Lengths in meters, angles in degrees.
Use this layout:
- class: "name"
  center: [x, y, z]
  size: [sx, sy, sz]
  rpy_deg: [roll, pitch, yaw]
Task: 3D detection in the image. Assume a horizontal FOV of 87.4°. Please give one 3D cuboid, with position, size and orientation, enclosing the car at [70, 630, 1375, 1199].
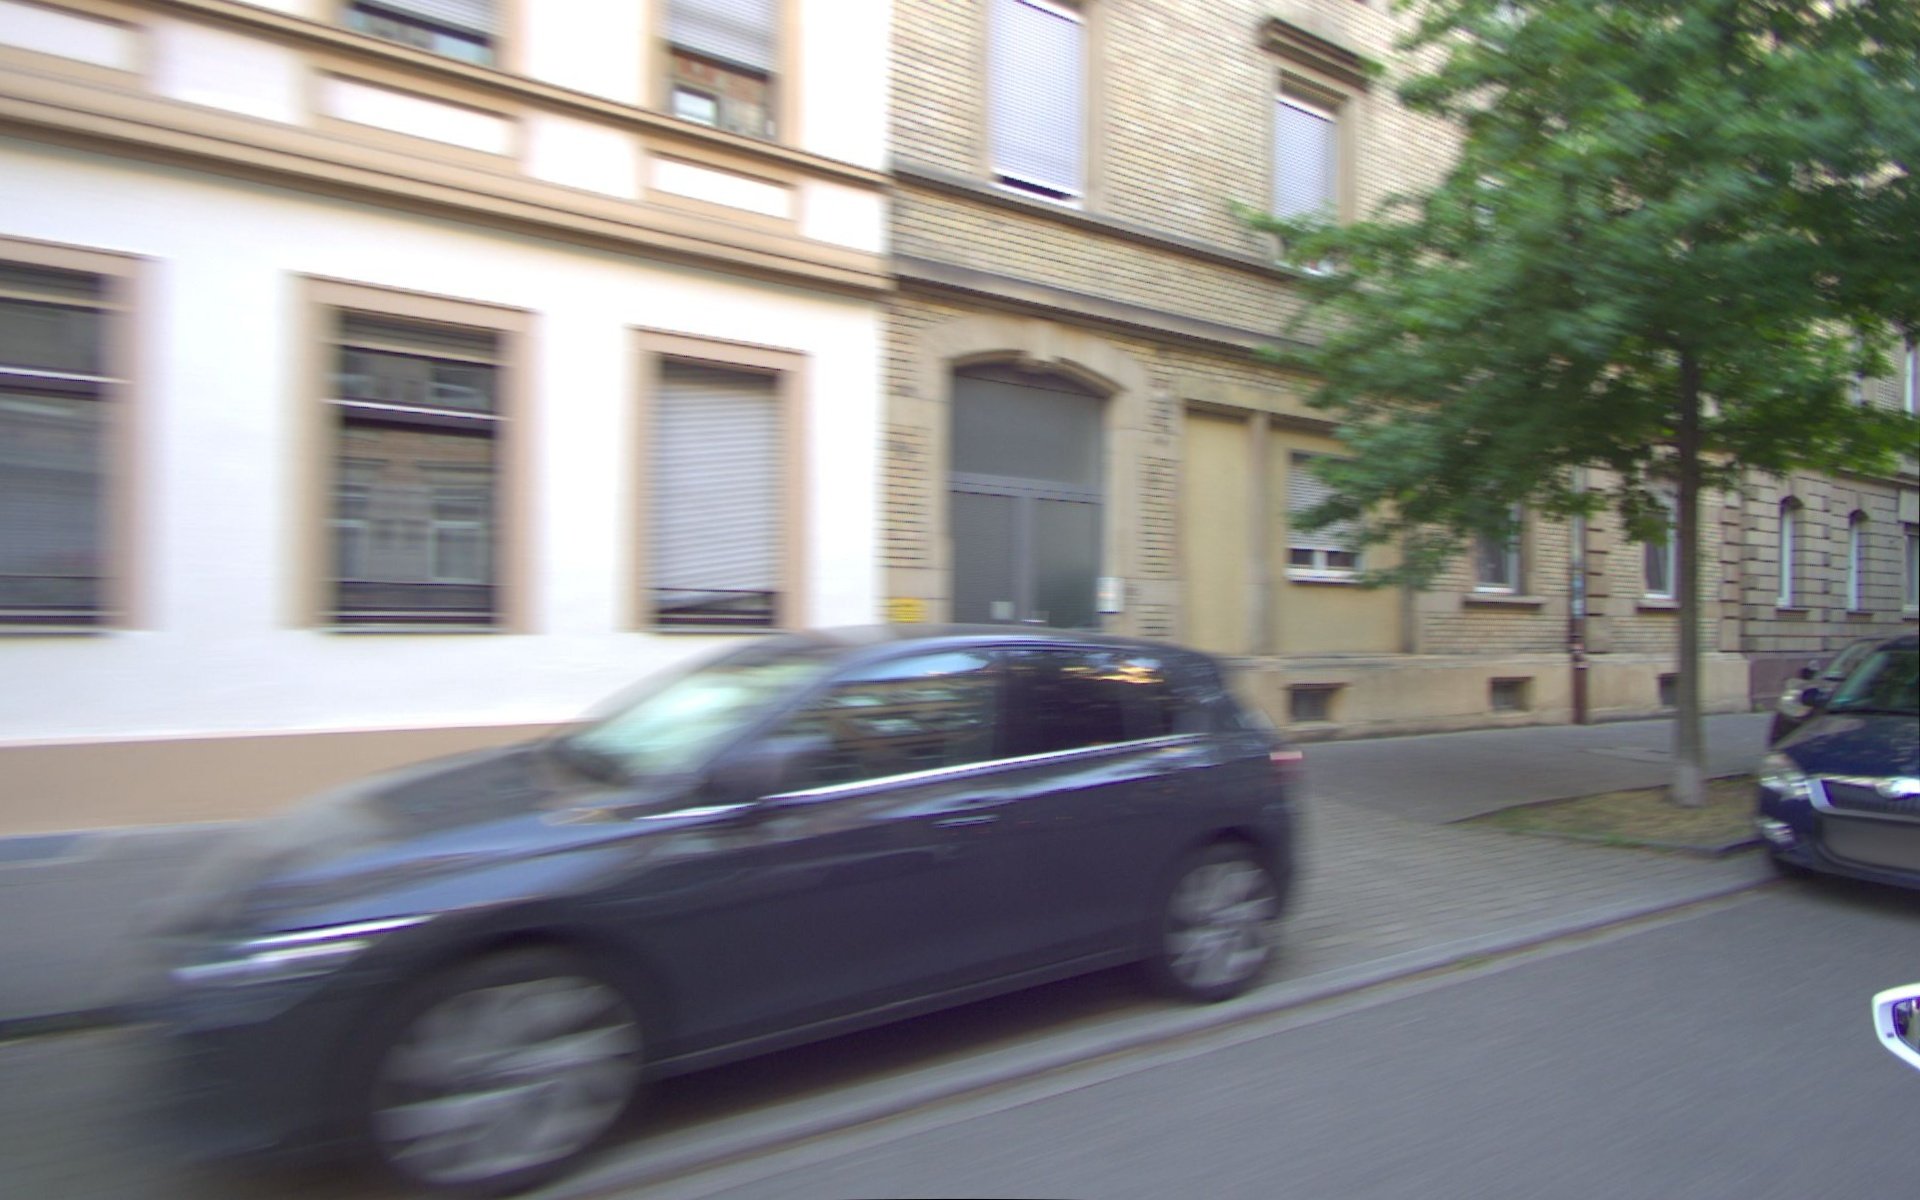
- class: "car"
  center: [-0.471, 0.872, 3.917]
  size: [4.211, 1.482, 1.758]
  rpy_deg: [1, -1, -32]

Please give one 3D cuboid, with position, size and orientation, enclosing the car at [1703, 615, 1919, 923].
- class: "car"
  center: [6.712, 0.910, 6.394]
  size: [4.170, 1.594, 1.715]
  rpy_deg: [1, -1, -31]

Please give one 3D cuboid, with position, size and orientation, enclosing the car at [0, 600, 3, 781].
- class: "car"
  center: [-4.545, 0.725, 1.591]
  size: [4.066, 1.530, 1.675]
  rpy_deg: [1, -1, -31]

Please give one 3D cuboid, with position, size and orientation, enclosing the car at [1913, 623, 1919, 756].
- class: "car"
  center: [12.866, 1.071, 11.804]
  size: [3.520, 1.521, 1.511]
  rpy_deg: [1, 0, -31]

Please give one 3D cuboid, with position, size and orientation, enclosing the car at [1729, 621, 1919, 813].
- class: "car"
  center: [9.126, 1.001, 9.531]
  size: [3.670, 1.521, 1.682]
  rpy_deg: [1, 0, -31]
